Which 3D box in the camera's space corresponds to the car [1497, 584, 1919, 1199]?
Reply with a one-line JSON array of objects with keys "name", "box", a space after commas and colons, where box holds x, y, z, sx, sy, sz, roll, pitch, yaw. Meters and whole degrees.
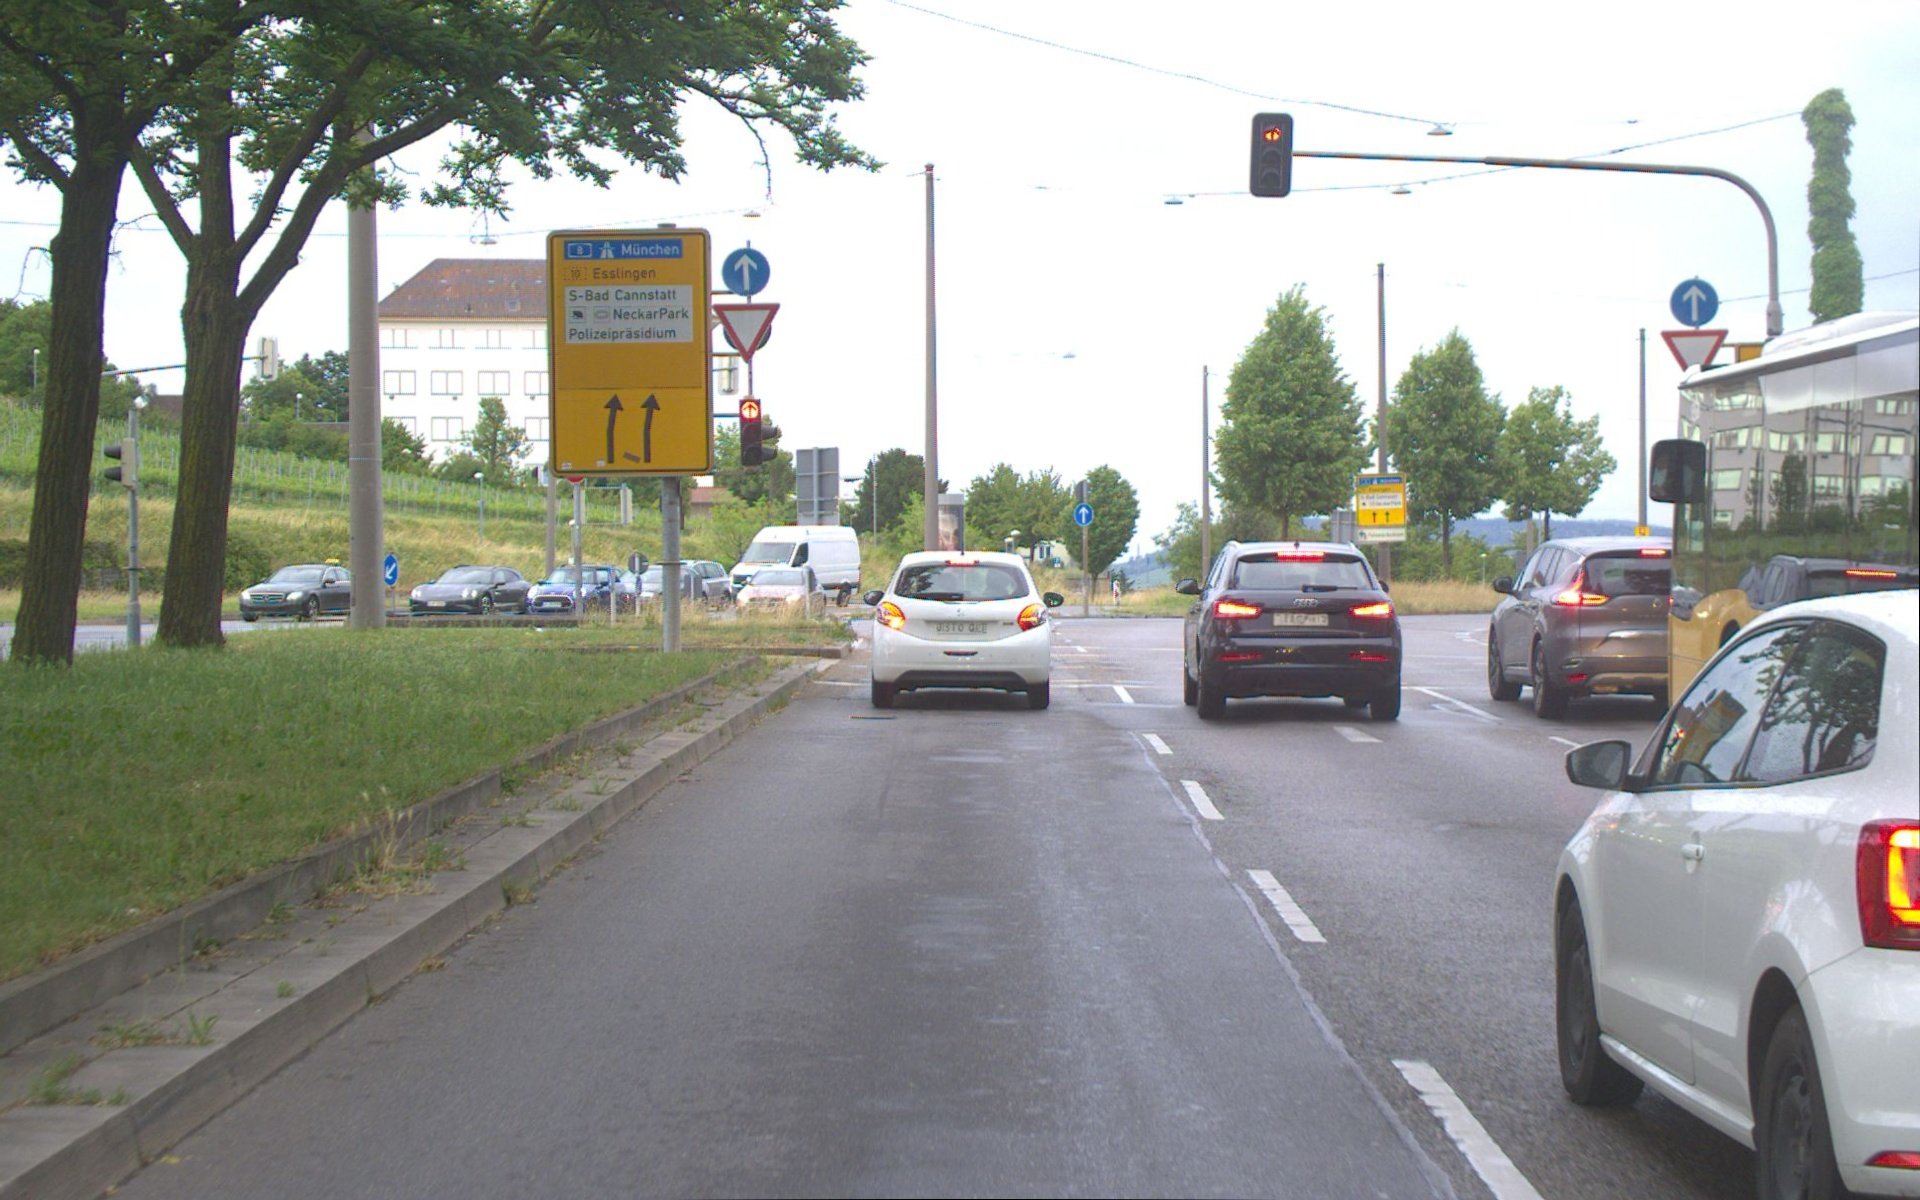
[{"name": "car", "box": [2.460, 0.705, 8.111, 1.741, 1.427, 3.812, 1, 0, 0]}]

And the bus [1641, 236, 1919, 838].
[{"name": "bus", "box": [6.440, -0.363, 20.176, 2.727, 3.141, 12.146, 1, 1, 2]}]

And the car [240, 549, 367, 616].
[{"name": "car", "box": [-16.880, -0.450, 88.589, 1.830, 1.618, 4.565, 2, 0, 8]}]

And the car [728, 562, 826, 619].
[{"name": "car", "box": [-4.681, -0.240, 88.567, 1.776, 1.420, 4.373, -1, 0, 7]}]

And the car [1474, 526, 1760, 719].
[{"name": "car", "box": [6.168, 0.150, 32.793, 1.865, 1.668, 4.566, 0, 2, 0]}]

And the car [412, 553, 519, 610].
[{"name": "car", "box": [-12.920, -0.472, 90.008, 1.787, 1.391, 3.880, 1, 0, 7]}]

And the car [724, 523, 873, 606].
[{"name": "car", "box": [-5.188, -1.126, 111.508, 1.996, 2.550, 6.160, 2, 0, 27]}]

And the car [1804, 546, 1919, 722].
[{"name": "car", "box": [8.989, 0.302, 31.277, 1.867, 1.493, 4.146, 1, 0, 23]}]

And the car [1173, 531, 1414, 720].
[{"name": "car", "box": [3.021, 0.208, 31.884, 1.884, 1.590, 4.113, 2, 0, 1]}]

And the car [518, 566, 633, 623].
[{"name": "car", "box": [-9.809, -0.131, 87.925, 1.787, 1.391, 3.880, 1, 0, 12]}]

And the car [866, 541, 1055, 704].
[{"name": "car", "box": [0.038, 0.192, 33.518, 1.718, 1.484, 4.000, 0, 0, 1]}]
